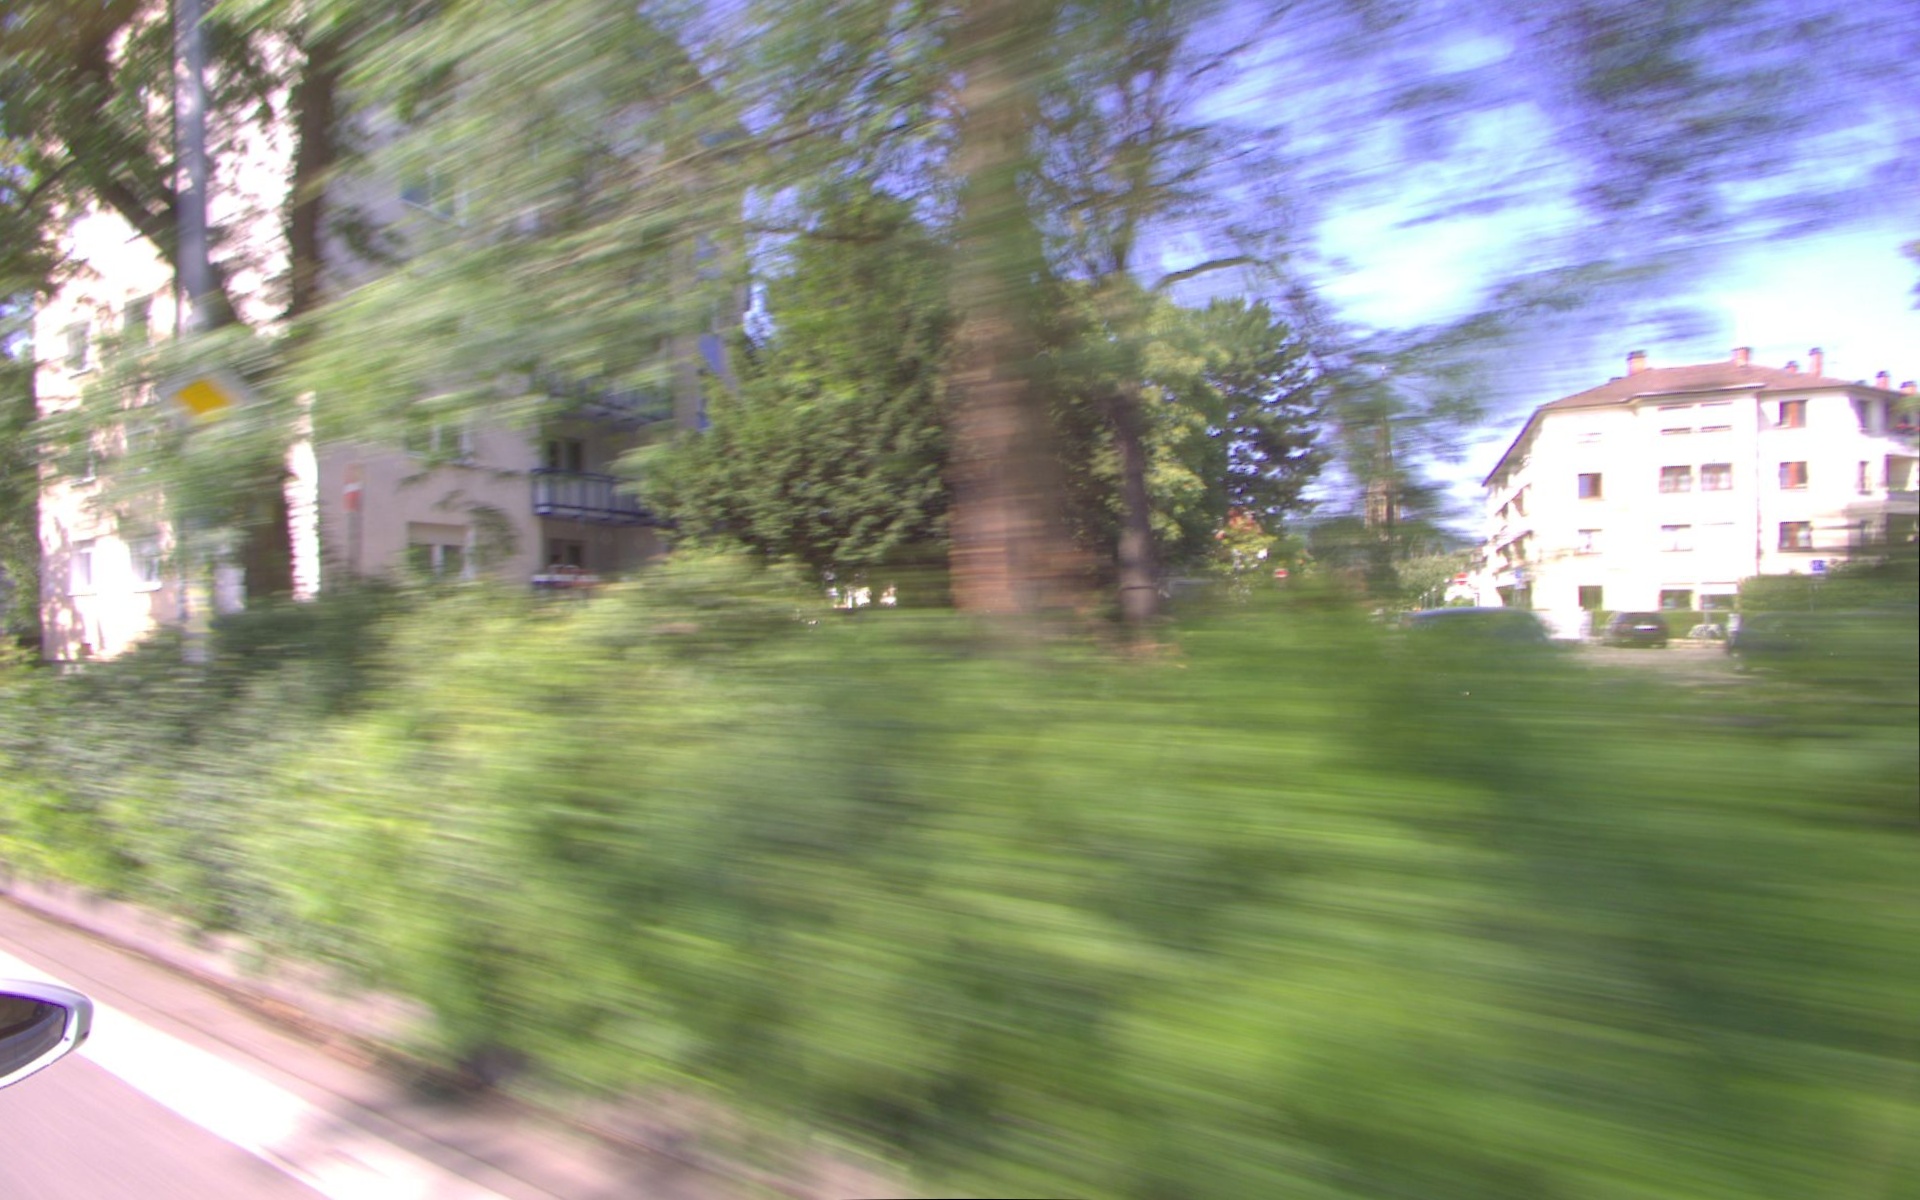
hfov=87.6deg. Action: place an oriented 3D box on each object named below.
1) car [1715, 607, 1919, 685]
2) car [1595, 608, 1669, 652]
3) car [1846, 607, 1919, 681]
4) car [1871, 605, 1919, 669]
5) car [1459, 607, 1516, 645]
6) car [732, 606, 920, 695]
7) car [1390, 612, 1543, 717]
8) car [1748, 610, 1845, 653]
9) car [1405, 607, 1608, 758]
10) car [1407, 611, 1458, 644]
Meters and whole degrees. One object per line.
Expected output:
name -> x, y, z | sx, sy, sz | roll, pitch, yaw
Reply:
car -> 18.501, 0.916, 21.643 | 1.898, 1.533, 3.998 | 0, 0, 10
car -> 25.933, 1.128, 38.780 | 1.687, 1.617, 3.831 | 0, 0, 23
car -> 23.995, 1.057, 24.437 | 1.834, 1.750, 3.997 | 0, 0, 13
car -> 26.915, 0.996, 26.930 | 1.834, 1.750, 3.997 | 0, 0, 13
car -> 22.136, 1.057, 42.127 | 1.733, 1.492, 3.793 | 0, 0, 21
car -> -2.768, 0.986, 20.646 | 3.531, 1.676, 1.682 | 0, -1, -24
car -> 8.480, 0.998, 17.089 | 1.749, 1.461, 3.763 | 0, 1, 18
car -> 31.168, 1.128, 37.433 | 1.817, 1.483, 3.987 | 0, 0, 25
car -> 6.629, 0.877, 12.551 | 1.810, 1.568, 3.961 | 0, 0, 23
car -> 20.226, 1.133, 42.984 | 1.733, 1.342, 3.410 | 0, 0, 22
